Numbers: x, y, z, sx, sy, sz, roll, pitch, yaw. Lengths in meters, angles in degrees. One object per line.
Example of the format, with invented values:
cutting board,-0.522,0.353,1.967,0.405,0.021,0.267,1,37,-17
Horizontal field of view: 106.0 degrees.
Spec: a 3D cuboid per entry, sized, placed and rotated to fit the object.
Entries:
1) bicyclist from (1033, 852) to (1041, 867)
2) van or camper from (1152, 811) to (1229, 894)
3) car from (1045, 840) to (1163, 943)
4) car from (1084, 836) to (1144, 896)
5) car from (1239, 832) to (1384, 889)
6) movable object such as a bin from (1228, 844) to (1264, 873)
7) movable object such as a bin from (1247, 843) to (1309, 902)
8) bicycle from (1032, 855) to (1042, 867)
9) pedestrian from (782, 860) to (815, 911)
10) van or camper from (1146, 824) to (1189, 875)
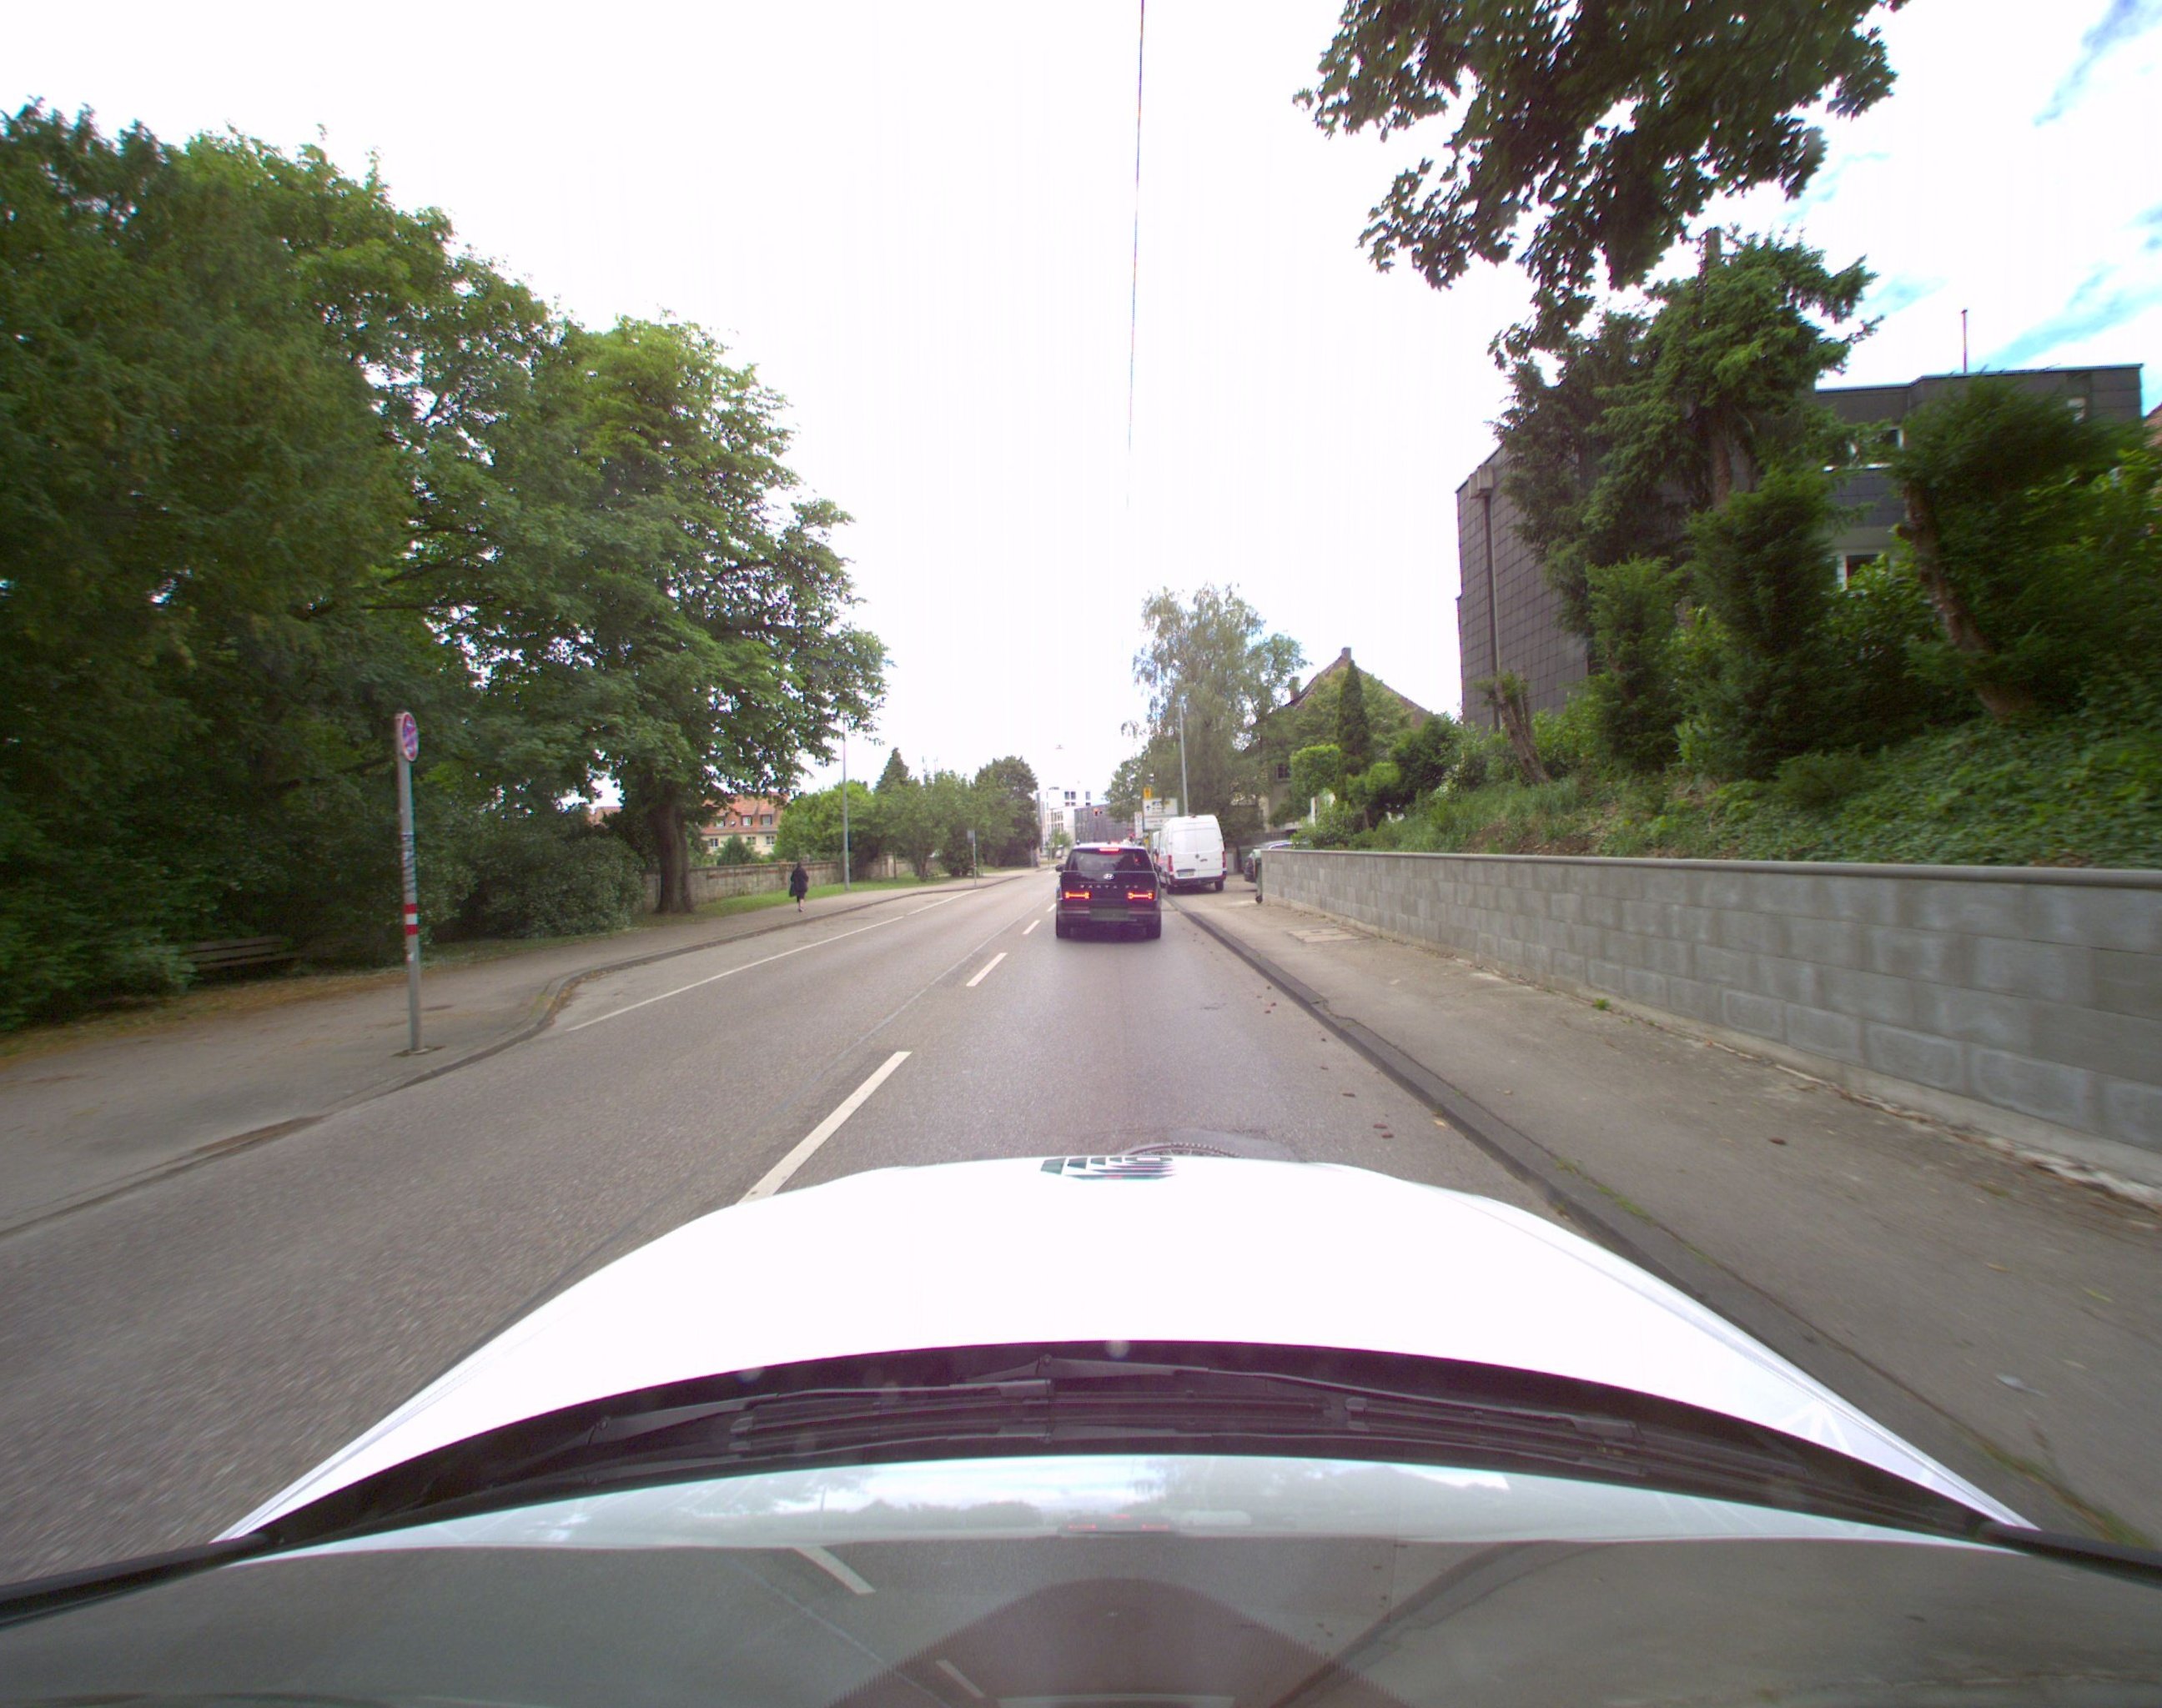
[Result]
bicyclist,-5.005,0.625,92.595,0.675,1.659,0.855,0,-2,-12
van or camper,3.926,-0.076,30.259,1.957,2.627,6.360,-4,0,1
car,0.452,0.618,15.723,1.956,1.711,4.002,-1,0,2
car,1.152,0.402,29.366,1.956,2.001,4.001,-1,0,1
car,7.668,0.220,27.420,4.376,1.652,1.831,-3,0,3
movable object such as a bin,8.744,0.215,43.183,1.446,1.473,1.715,-1,0,-4
movable object such as a bin,5.140,0.470,21.353,1.295,1.450,1.181,-3,0,2
bicycle,-5.003,0.799,92.561,0.675,1.279,2.490,0,-2,-12
pedestrian,-8.935,0.982,25.770,0.747,1.578,0.965,-1,0,-6
van or camper,5.145,-0.279,49.071,1.957,2.797,5.288,-4,0,1
